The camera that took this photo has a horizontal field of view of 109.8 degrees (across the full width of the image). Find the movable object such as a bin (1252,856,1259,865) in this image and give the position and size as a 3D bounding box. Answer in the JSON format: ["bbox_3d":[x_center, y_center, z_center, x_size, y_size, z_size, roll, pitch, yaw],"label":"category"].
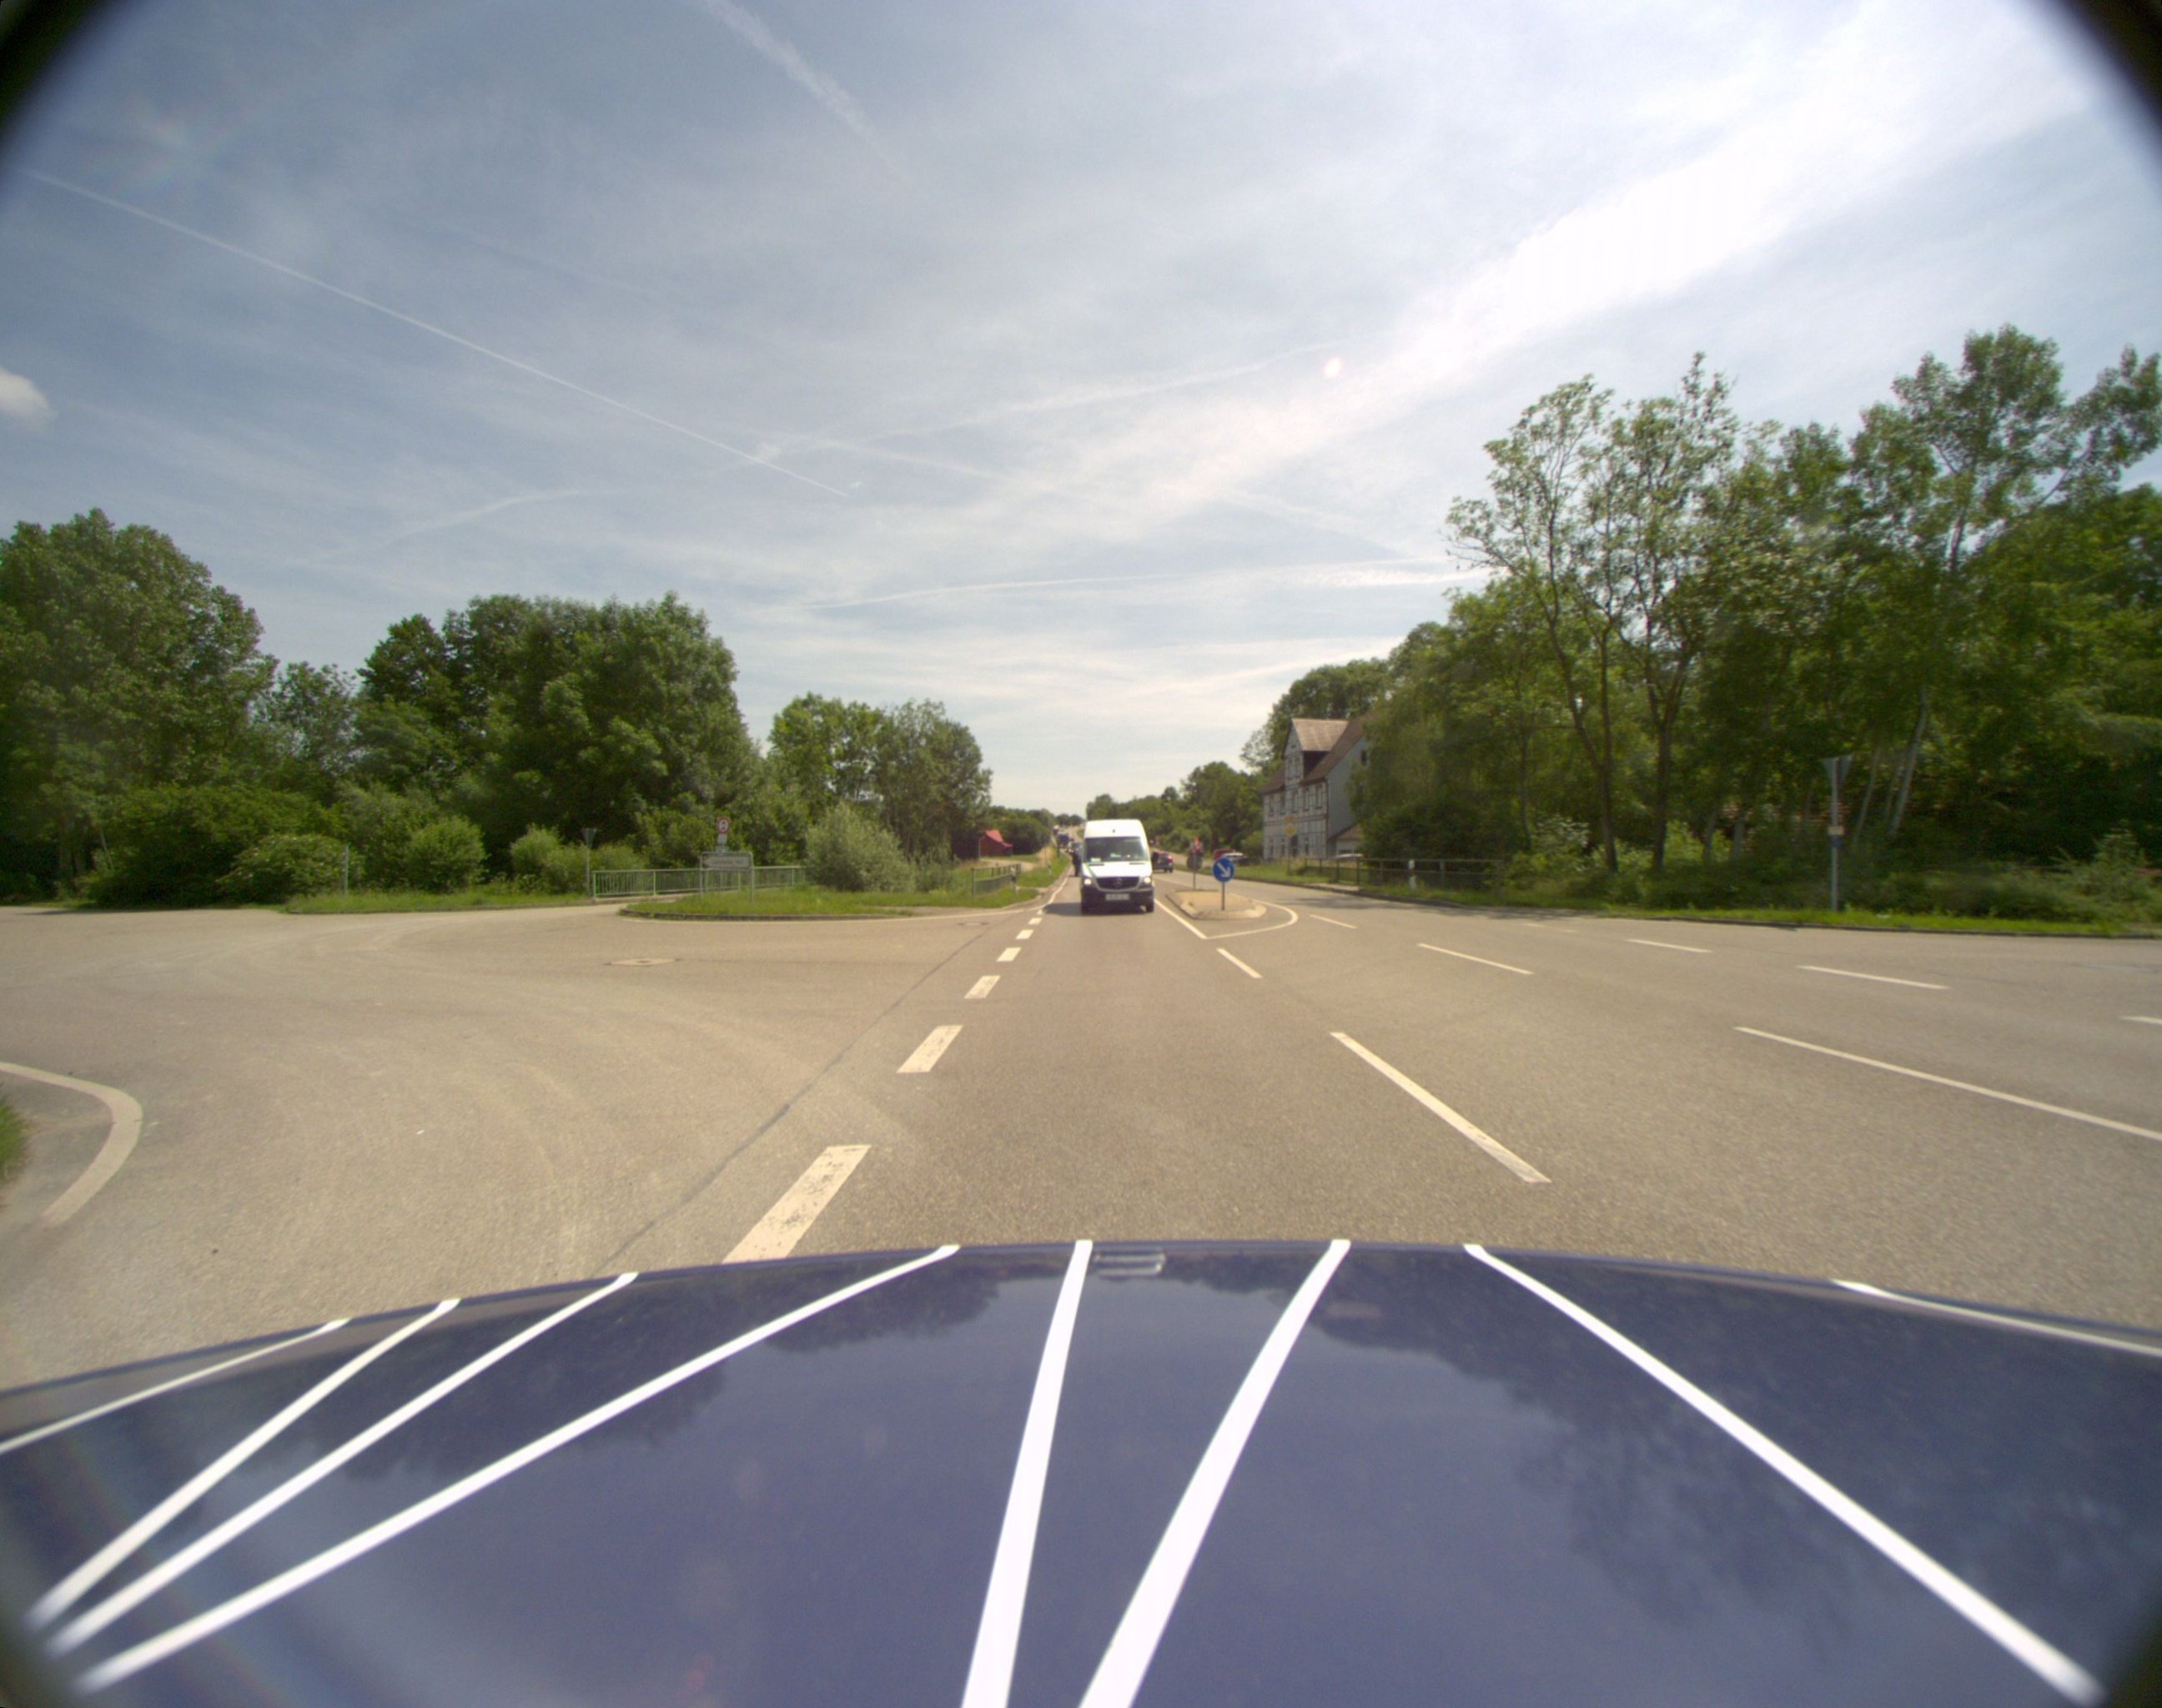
[{"bbox_3d":[20.258,0.725,88.163,0.505,0.971,0.654,-2,3,-8],"label":"movable object such as a bin"}]

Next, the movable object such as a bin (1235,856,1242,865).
[{"bbox_3d":[18.253,0.772,88.014,0.505,0.931,0.654,-2,3,-8],"label":"movable object such as a bin"}]

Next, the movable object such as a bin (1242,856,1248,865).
[{"bbox_3d":[18.986,0.777,88.045,0.505,0.964,0.654,-2,3,-8],"label":"movable object such as a bin"}]

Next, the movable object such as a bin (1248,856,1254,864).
[{"bbox_3d":[19.682,0.714,88.142,0.505,0.966,0.654,-2,3,-8],"label":"movable object such as a bin"}]

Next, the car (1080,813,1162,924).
[{"bbox_3d":[0.971,0.332,21.247,1.960,2.655,5.680,-1,1,0],"label":"car"}]

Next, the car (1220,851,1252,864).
[{"bbox_3d":[18.490,0.380,90.579,3.387,1.457,1.609,-2,1,-6],"label":"car"}]

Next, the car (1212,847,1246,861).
[{"bbox_3d":[19.577,-0.015,100.611,4.037,1.609,1.832,-1,2,1],"label":"car"}]

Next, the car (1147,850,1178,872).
[{"bbox_3d":[6.474,0.511,60.818,1.953,1.644,4.431,0,0,0],"label":"car"}]

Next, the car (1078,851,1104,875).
[{"bbox_3d":[0.680,0.638,56.297,1.848,1.692,4.243,0,0,0],"label":"car"}]

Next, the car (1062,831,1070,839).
[{"bbox_3d":[-3.988,-5.107,208.374,1.998,2.166,3.999,-2,1,1],"label":"car"}]

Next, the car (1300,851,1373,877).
[{"bbox_3d":[18.570,0.742,55.385,4.676,1.710,1.861,-1,-1,-4],"label":"car"}]

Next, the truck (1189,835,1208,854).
[{"bbox_3d":[18.786,-1.598,121.570,2.031,2.947,6.771,-2,2,1],"label":"truck"}]

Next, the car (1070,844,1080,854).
[{"bbox_3d":[-1.101,-0.922,140.177,1.849,1.693,4.240,0,2,-2],"label":"car"}]
